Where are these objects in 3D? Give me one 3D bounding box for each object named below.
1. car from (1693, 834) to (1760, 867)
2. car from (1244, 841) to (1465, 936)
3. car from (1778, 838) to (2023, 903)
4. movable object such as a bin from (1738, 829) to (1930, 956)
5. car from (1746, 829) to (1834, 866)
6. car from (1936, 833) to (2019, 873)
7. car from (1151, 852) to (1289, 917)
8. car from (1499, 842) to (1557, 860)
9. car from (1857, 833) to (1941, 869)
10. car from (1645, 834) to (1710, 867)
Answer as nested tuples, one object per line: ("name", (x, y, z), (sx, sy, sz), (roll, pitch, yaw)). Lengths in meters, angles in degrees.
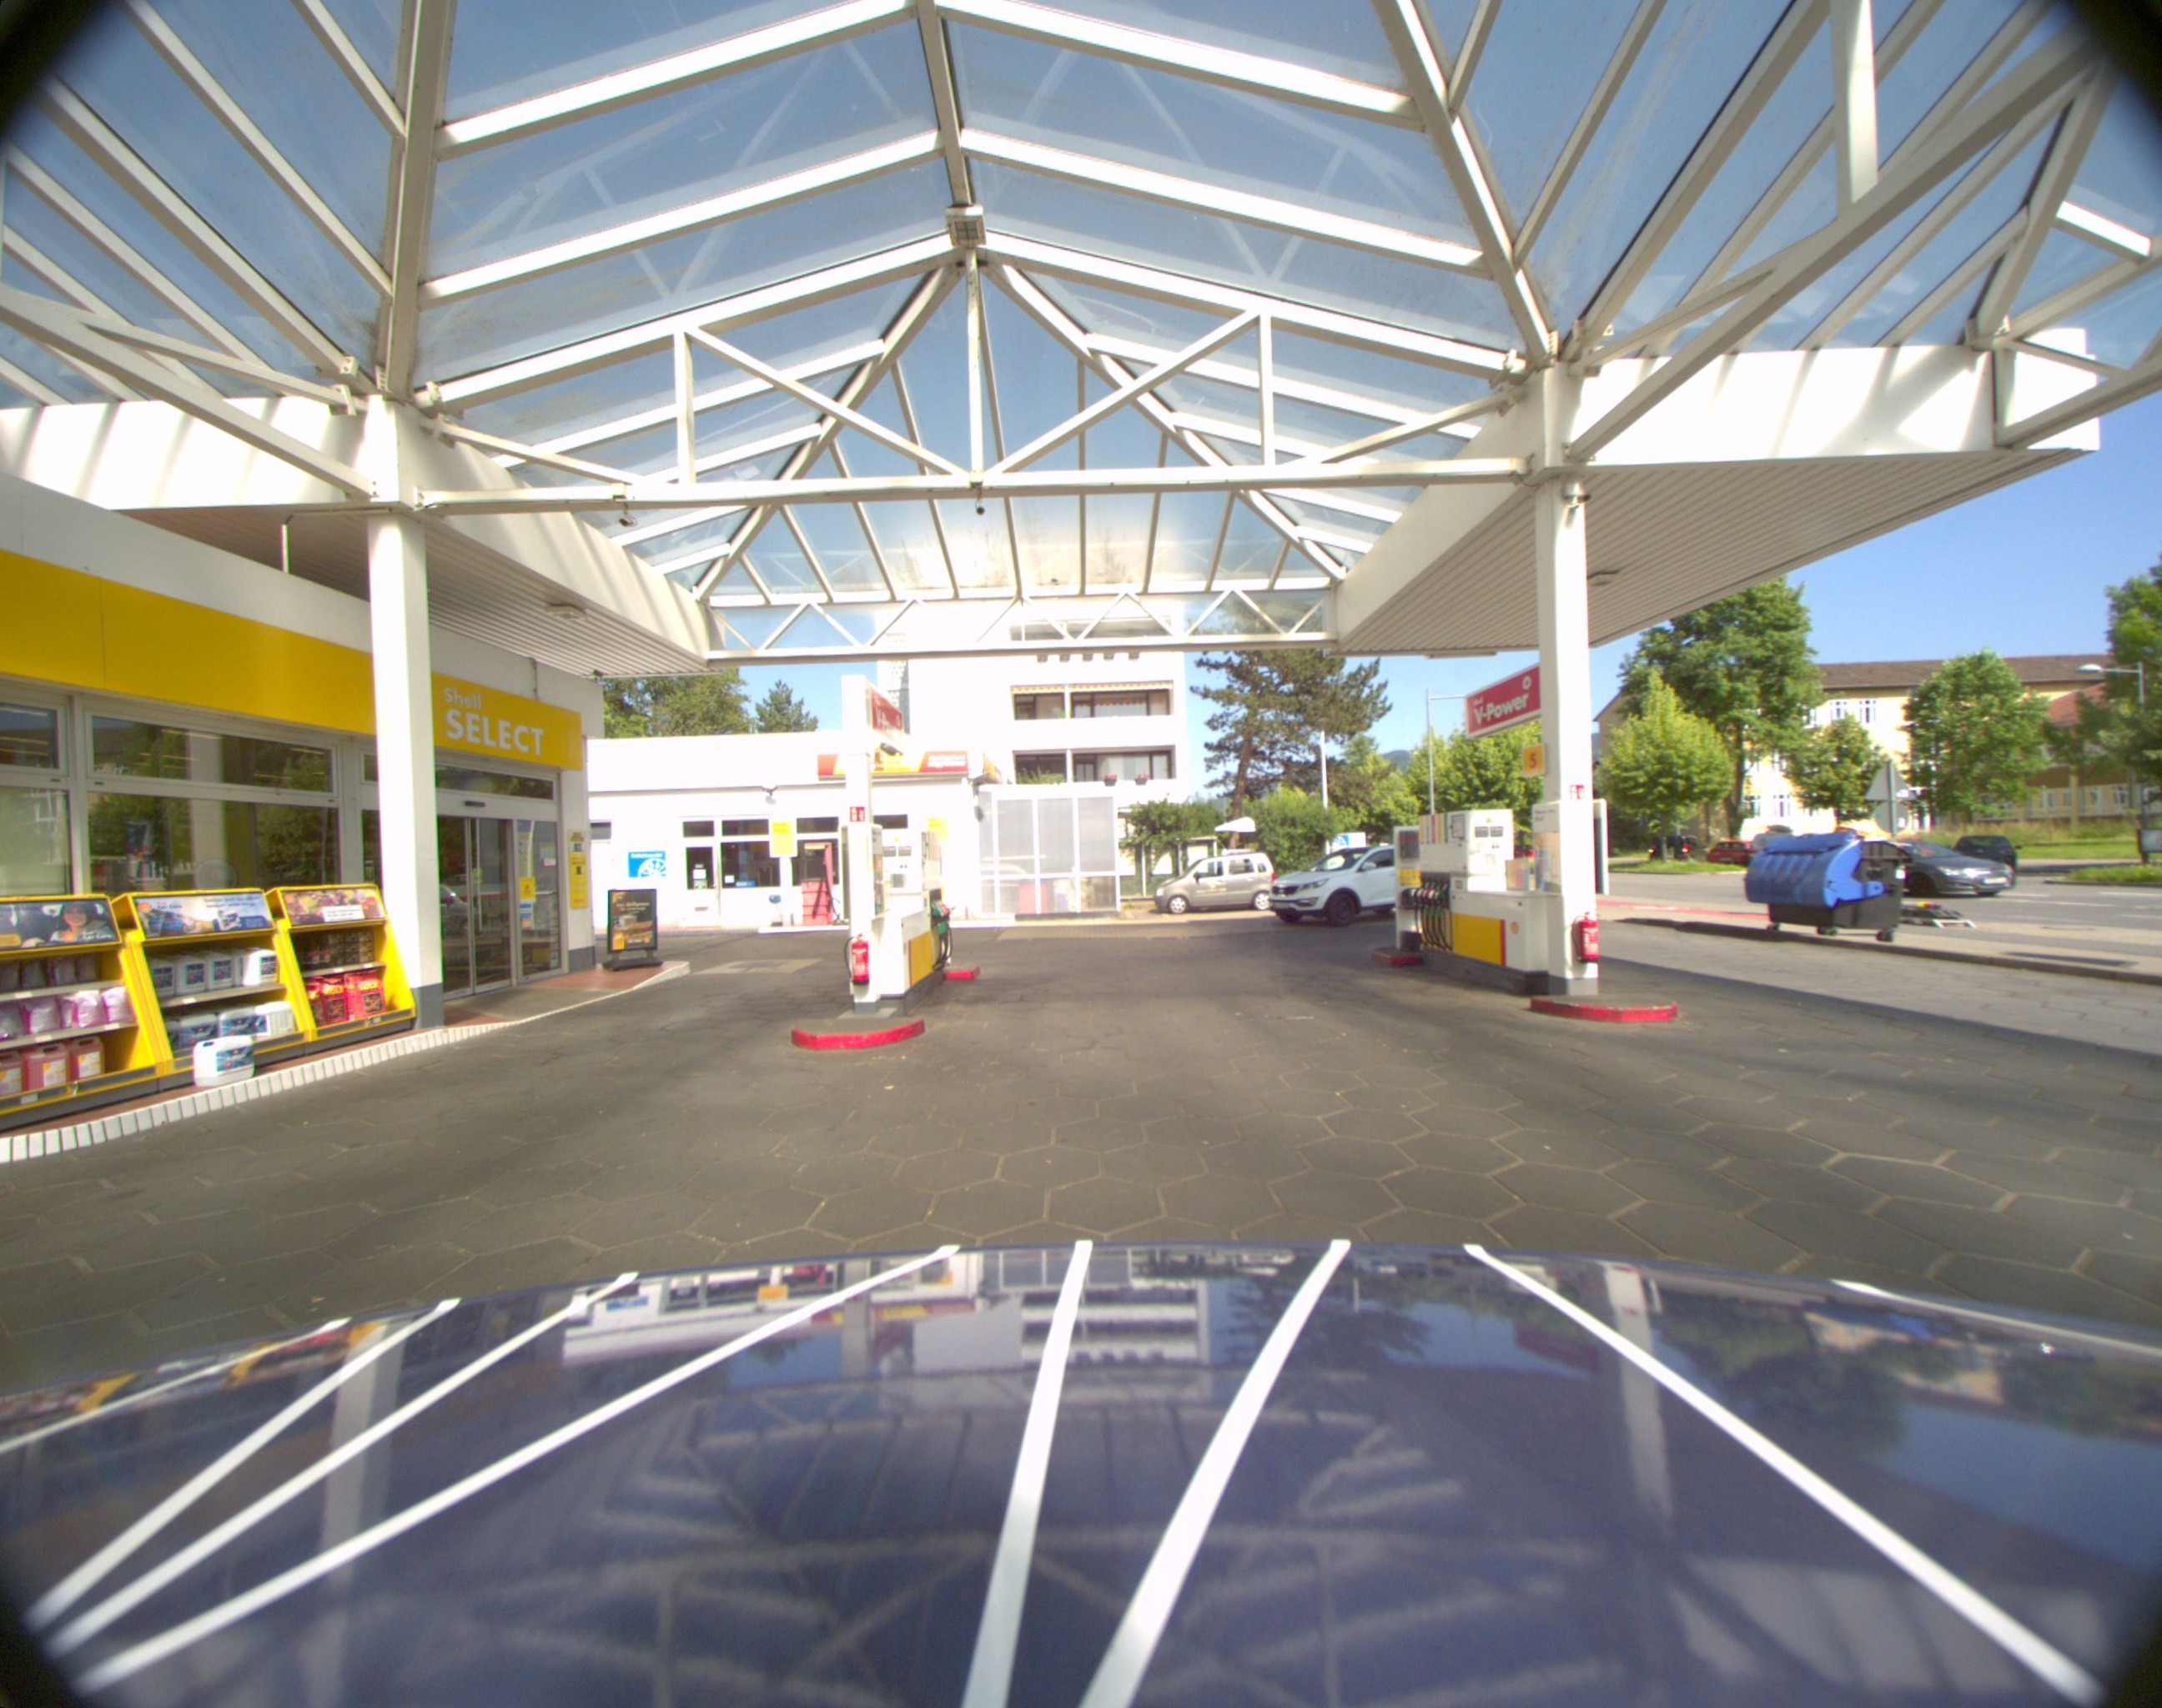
("car", (34.313, -0.199, 40.359), (4.234, 1.712, 1.876), (-1, 1, -39))
("car", (6.016, 0.684, 16.738), (4.311, 1.696, 1.958), (-3, 0, -22))
("car", (21.642, 0.384, 20.371), (1.569, 1.459, 4.375), (-3, 1, -6))
("movable object such as a bin", (10.532, 0.504, 10.715), (1.341, 1.678, 1.337), (0, 1, 2))
("car", (34.840, -0.333, 37.323), (4.232, 1.712, 1.877), (-1, 1, -29))
("car", (34.694, -0.058, 29.378), (4.234, 1.451, 1.737), (0, 0, -35))
("car", (3.943, 0.851, 22.033), (3.659, 1.608, 1.692), (-3, 1, 2))
("car", (34.741, -0.259, 59.091), (3.729, 1.383, 1.878), (0, 1, -18))
("car", (34.898, -0.158, 32.378), (4.233, 1.451, 1.876), (-1, 1, -35))
("car", (32.984, -0.220, 41.973), (4.234, 1.712, 1.876), (-1, 1, -39))
